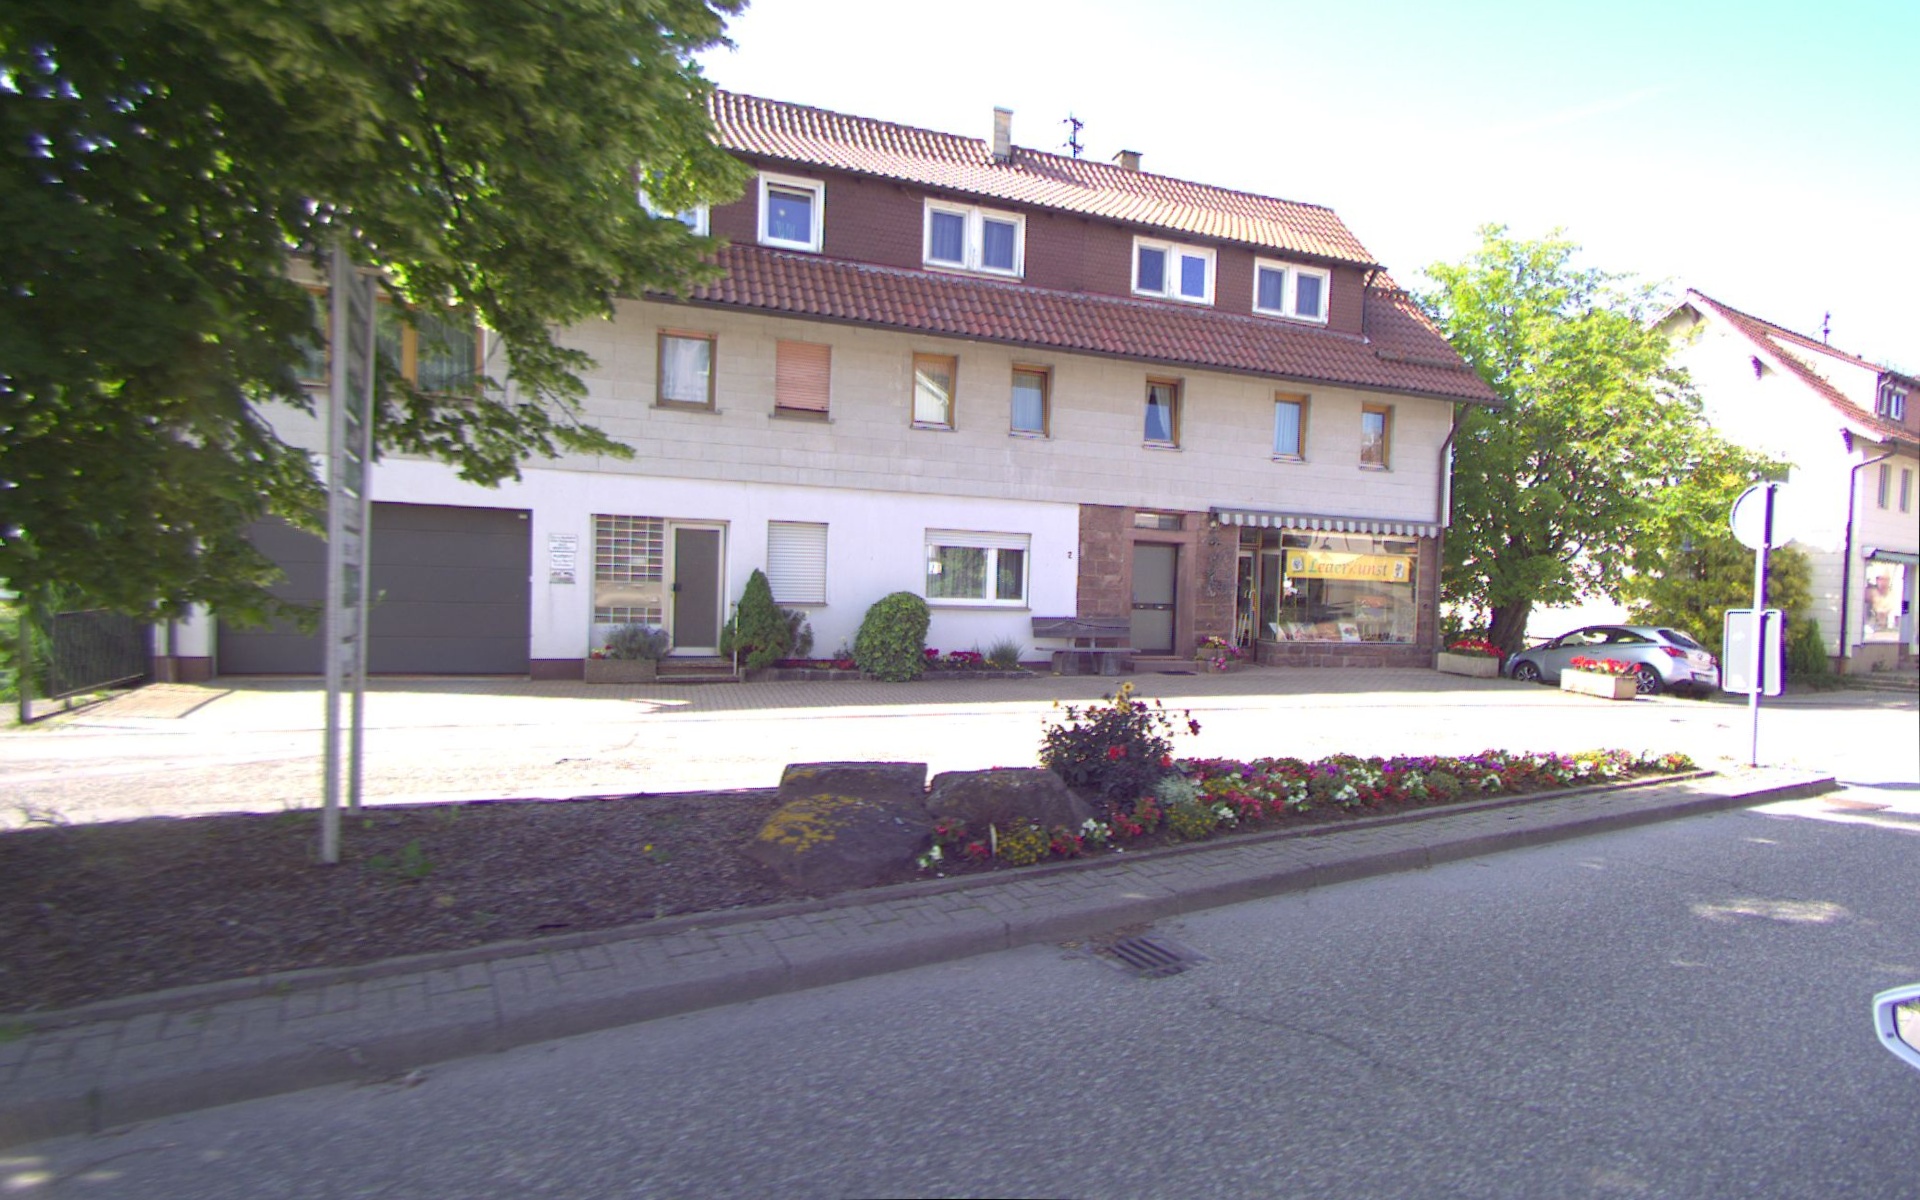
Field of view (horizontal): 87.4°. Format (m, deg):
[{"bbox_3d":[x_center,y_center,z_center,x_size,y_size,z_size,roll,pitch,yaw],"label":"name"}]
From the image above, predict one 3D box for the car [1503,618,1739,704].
[{"bbox_3d":[13.613,1.218,20.945,1.791,1.472,3.755,7,-4,-19],"label":"car"}]
